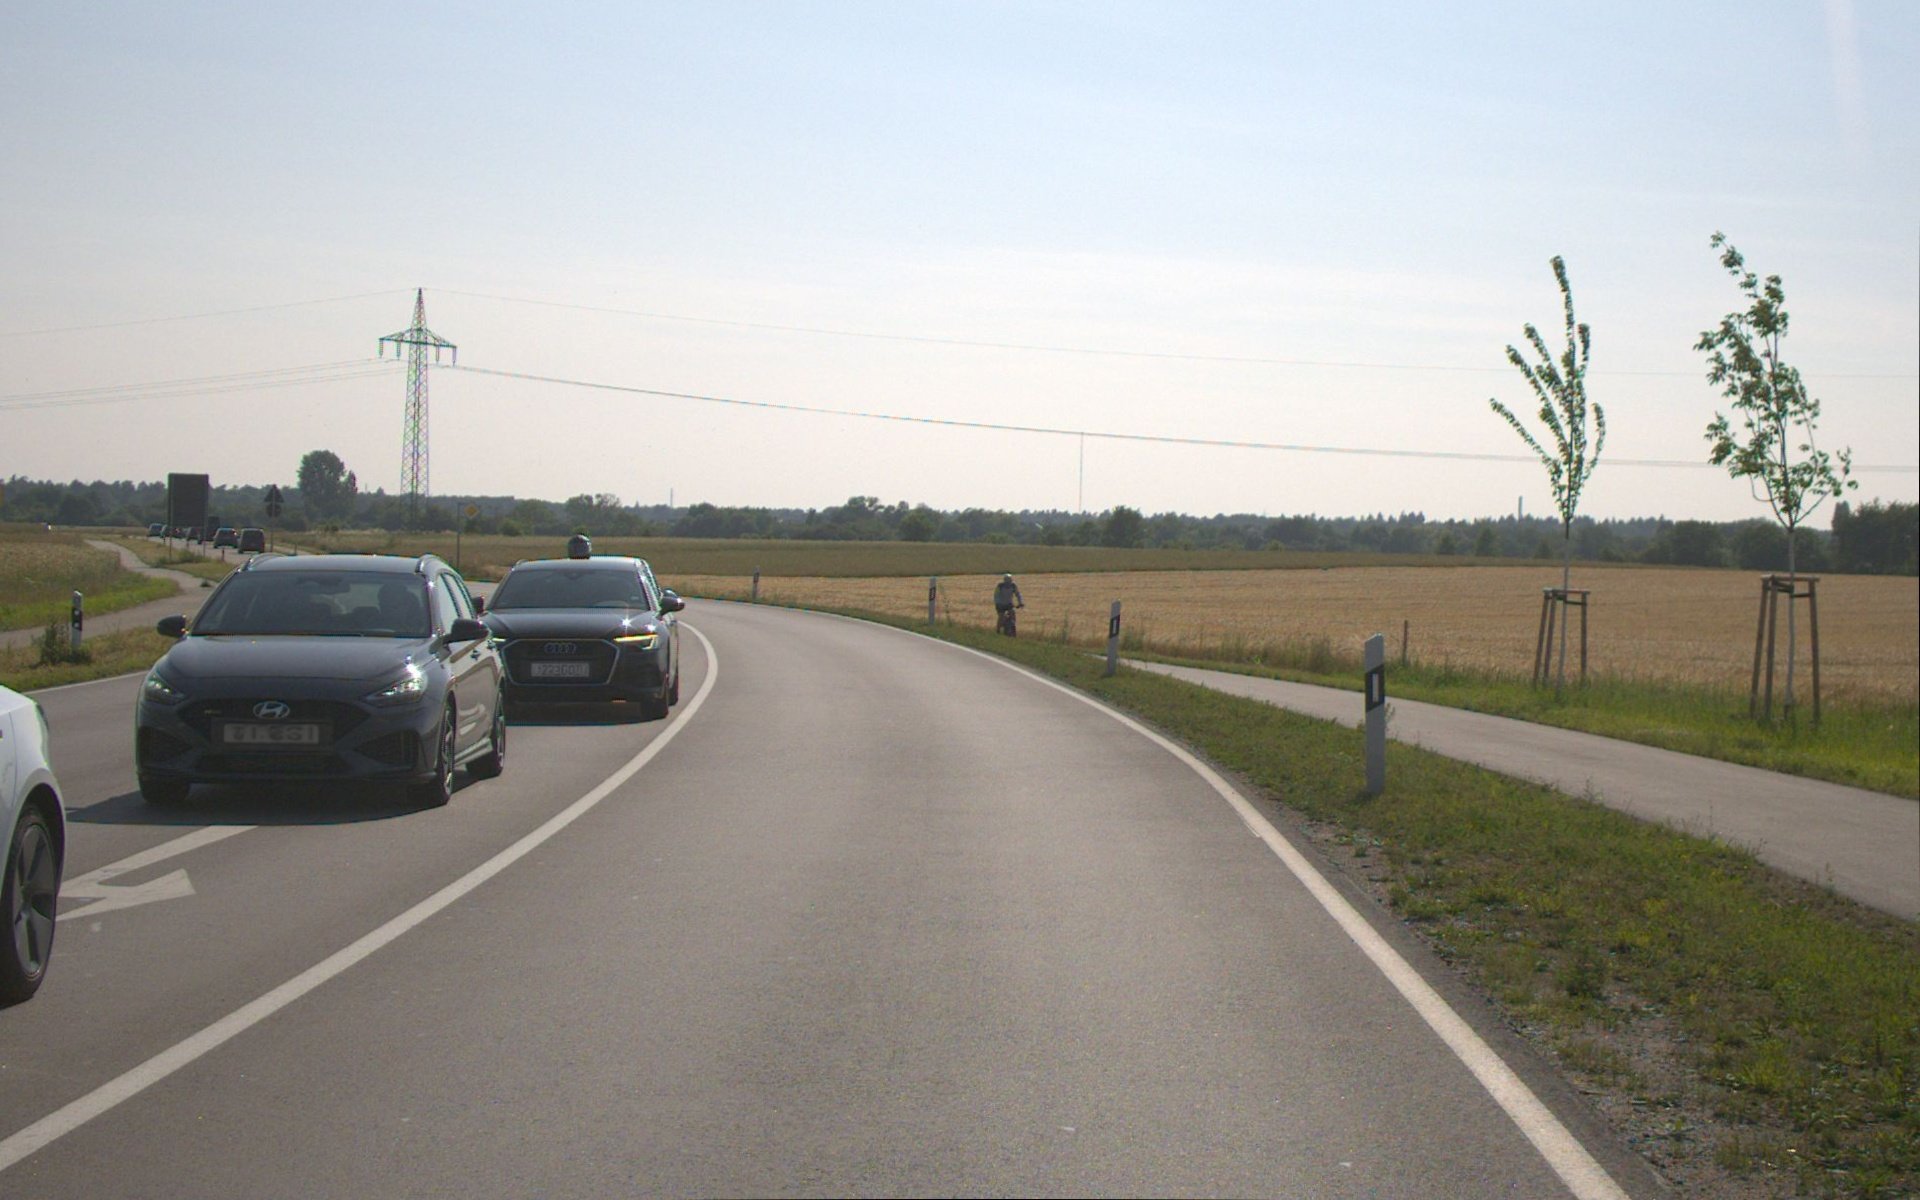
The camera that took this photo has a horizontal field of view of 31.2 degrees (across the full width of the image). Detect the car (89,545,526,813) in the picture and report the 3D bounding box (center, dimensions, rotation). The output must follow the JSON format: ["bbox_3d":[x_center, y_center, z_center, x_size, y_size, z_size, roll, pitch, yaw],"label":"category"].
[{"bbox_3d":[-3.892,0.415,21.218,1.890,1.456,4.306,1,1,0],"label":"car"}]

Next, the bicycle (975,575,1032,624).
[{"bbox_3d":[1.060,-0.017,84.318,0.845,1.138,2.207,3,0,-13],"label":"bicycle"}]

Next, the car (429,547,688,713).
[{"bbox_3d":[-3.733,0.237,32.723,1.890,1.431,4.797,1,1,0],"label":"car"}]

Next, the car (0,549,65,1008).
[{"bbox_3d":[-4.008,0.581,9.579,1.890,1.461,4.276,1,1,0],"label":"car"}]

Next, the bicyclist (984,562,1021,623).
[{"bbox_3d":[1.039,-0.178,84.233,0.637,1.452,0.817,3,0,-12],"label":"bicyclist"}]

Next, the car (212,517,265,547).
[{"bbox_3d":[-53.407,-5.043,254.480,1.840,1.827,4.467,5,1,-40],"label":"car"}]

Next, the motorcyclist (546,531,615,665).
[{"bbox_3d":[-4.290,-0.025,38.900,0.677,1.490,0.847,1,1,-1],"label":"motorcyclist"}]
